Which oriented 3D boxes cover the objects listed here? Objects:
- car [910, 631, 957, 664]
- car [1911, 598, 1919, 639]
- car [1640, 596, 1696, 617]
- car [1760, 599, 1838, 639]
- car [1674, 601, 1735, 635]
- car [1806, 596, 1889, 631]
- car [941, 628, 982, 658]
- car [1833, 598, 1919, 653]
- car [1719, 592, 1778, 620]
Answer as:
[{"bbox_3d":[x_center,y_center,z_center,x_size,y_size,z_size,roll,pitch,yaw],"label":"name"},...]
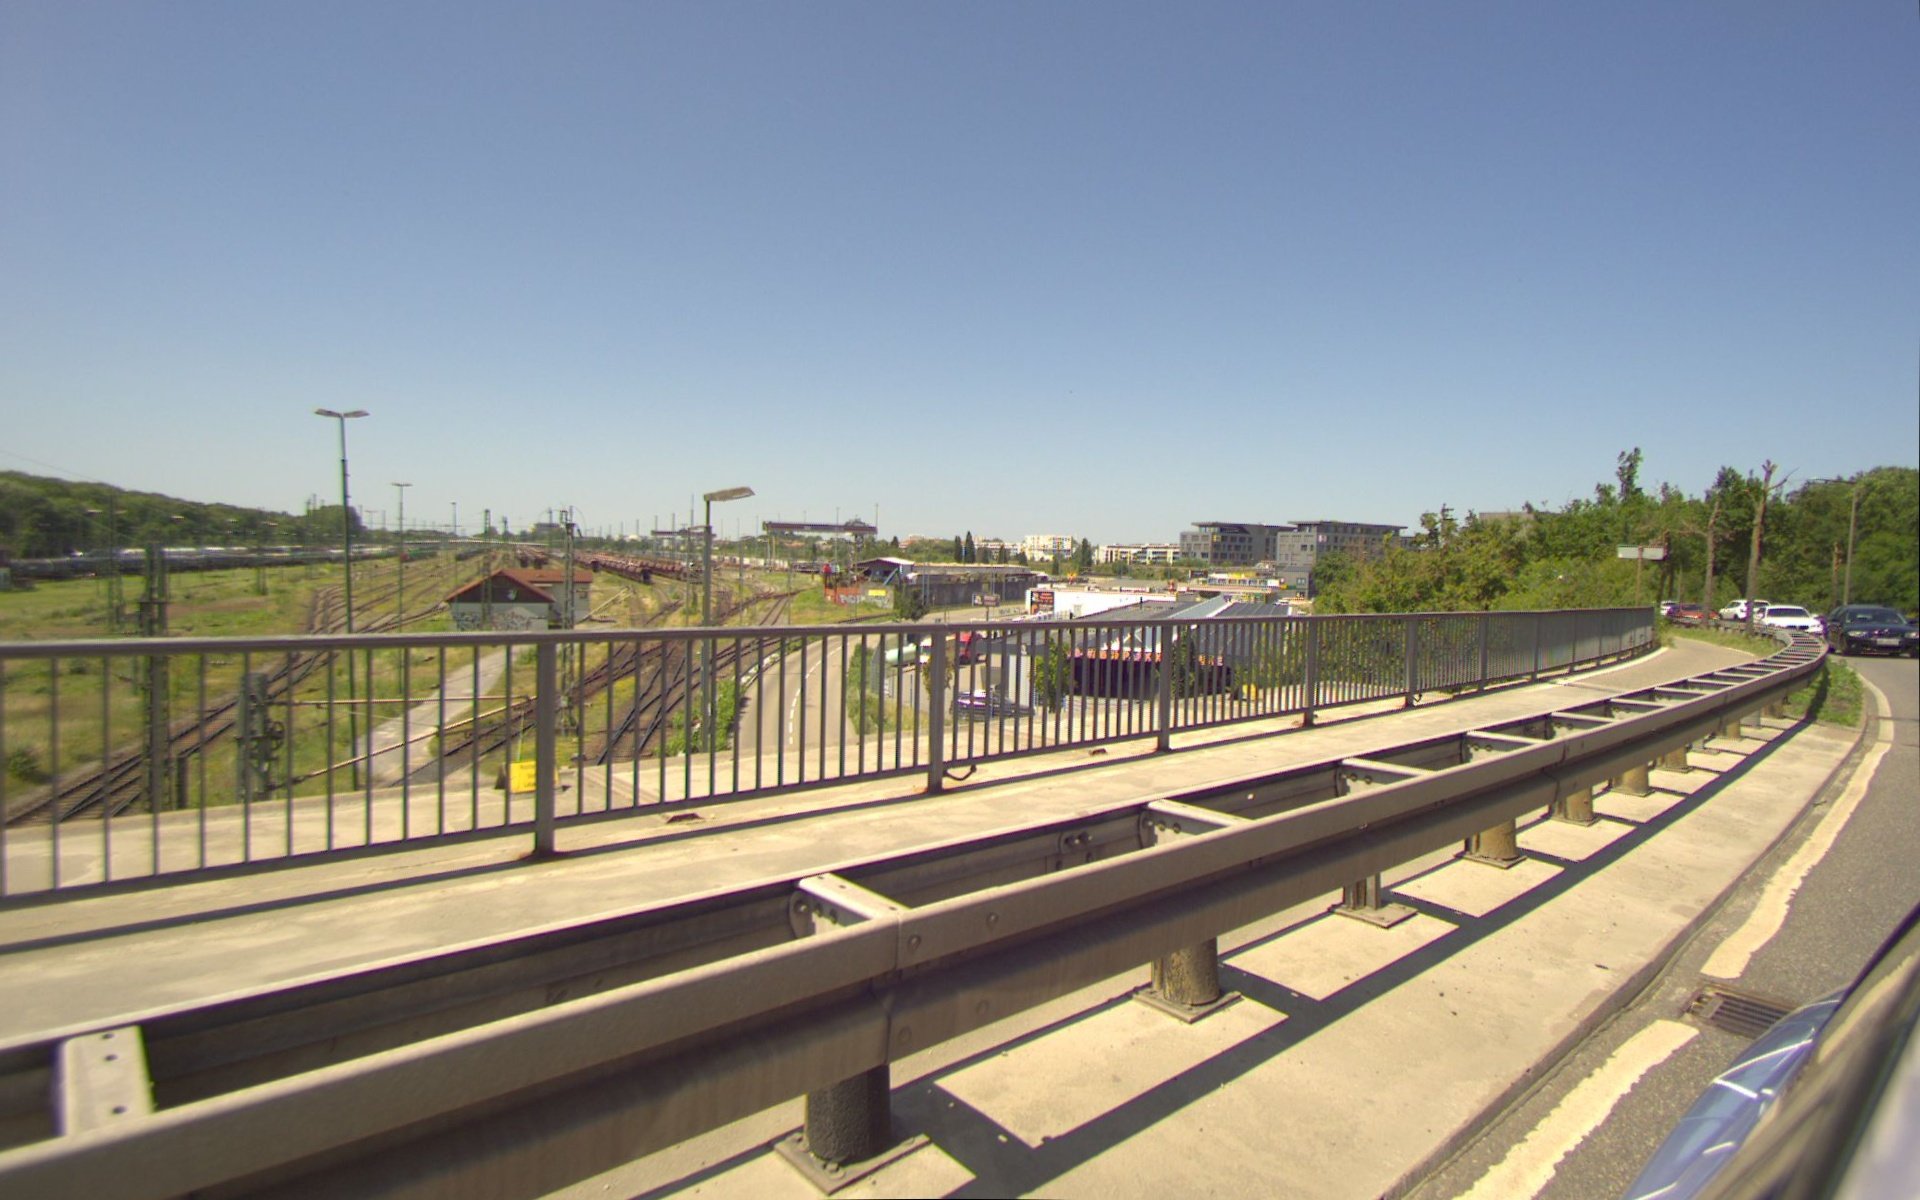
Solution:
[{"bbox_3d":[-2.133,3.839,82.251,2.125,2.382,4.897,-4,-2,19],"label":"car"},{"bbox_3d":[34.351,0.671,34.763,1.751,1.460,4.511,1,1,35],"label":"car"},{"bbox_3d":[50.552,0.436,72.360,1.681,1.465,4.442,0,0,13],"label":"car"},{"bbox_3d":[32.967,0.719,39.860,1.803,1.446,3.675,1,1,31],"label":"car"},{"bbox_3d":[41.999,0.983,57.170,1.882,1.675,4.223,1,2,24],"label":"car"},{"bbox_3d":[40.065,0.575,45.792,1.704,1.445,4.073,1,1,25],"label":"car"},{"bbox_3d":[0.166,3.704,88.778,2.124,2.382,4.898,-4,-2,19],"label":"car"},{"bbox_3d":[26.119,0.662,28.671,1.559,1.434,4.073,1,1,33],"label":"car"},{"bbox_3d":[46.259,0.330,59.452,1.733,1.565,4.356,1,1,25],"label":"car"}]
